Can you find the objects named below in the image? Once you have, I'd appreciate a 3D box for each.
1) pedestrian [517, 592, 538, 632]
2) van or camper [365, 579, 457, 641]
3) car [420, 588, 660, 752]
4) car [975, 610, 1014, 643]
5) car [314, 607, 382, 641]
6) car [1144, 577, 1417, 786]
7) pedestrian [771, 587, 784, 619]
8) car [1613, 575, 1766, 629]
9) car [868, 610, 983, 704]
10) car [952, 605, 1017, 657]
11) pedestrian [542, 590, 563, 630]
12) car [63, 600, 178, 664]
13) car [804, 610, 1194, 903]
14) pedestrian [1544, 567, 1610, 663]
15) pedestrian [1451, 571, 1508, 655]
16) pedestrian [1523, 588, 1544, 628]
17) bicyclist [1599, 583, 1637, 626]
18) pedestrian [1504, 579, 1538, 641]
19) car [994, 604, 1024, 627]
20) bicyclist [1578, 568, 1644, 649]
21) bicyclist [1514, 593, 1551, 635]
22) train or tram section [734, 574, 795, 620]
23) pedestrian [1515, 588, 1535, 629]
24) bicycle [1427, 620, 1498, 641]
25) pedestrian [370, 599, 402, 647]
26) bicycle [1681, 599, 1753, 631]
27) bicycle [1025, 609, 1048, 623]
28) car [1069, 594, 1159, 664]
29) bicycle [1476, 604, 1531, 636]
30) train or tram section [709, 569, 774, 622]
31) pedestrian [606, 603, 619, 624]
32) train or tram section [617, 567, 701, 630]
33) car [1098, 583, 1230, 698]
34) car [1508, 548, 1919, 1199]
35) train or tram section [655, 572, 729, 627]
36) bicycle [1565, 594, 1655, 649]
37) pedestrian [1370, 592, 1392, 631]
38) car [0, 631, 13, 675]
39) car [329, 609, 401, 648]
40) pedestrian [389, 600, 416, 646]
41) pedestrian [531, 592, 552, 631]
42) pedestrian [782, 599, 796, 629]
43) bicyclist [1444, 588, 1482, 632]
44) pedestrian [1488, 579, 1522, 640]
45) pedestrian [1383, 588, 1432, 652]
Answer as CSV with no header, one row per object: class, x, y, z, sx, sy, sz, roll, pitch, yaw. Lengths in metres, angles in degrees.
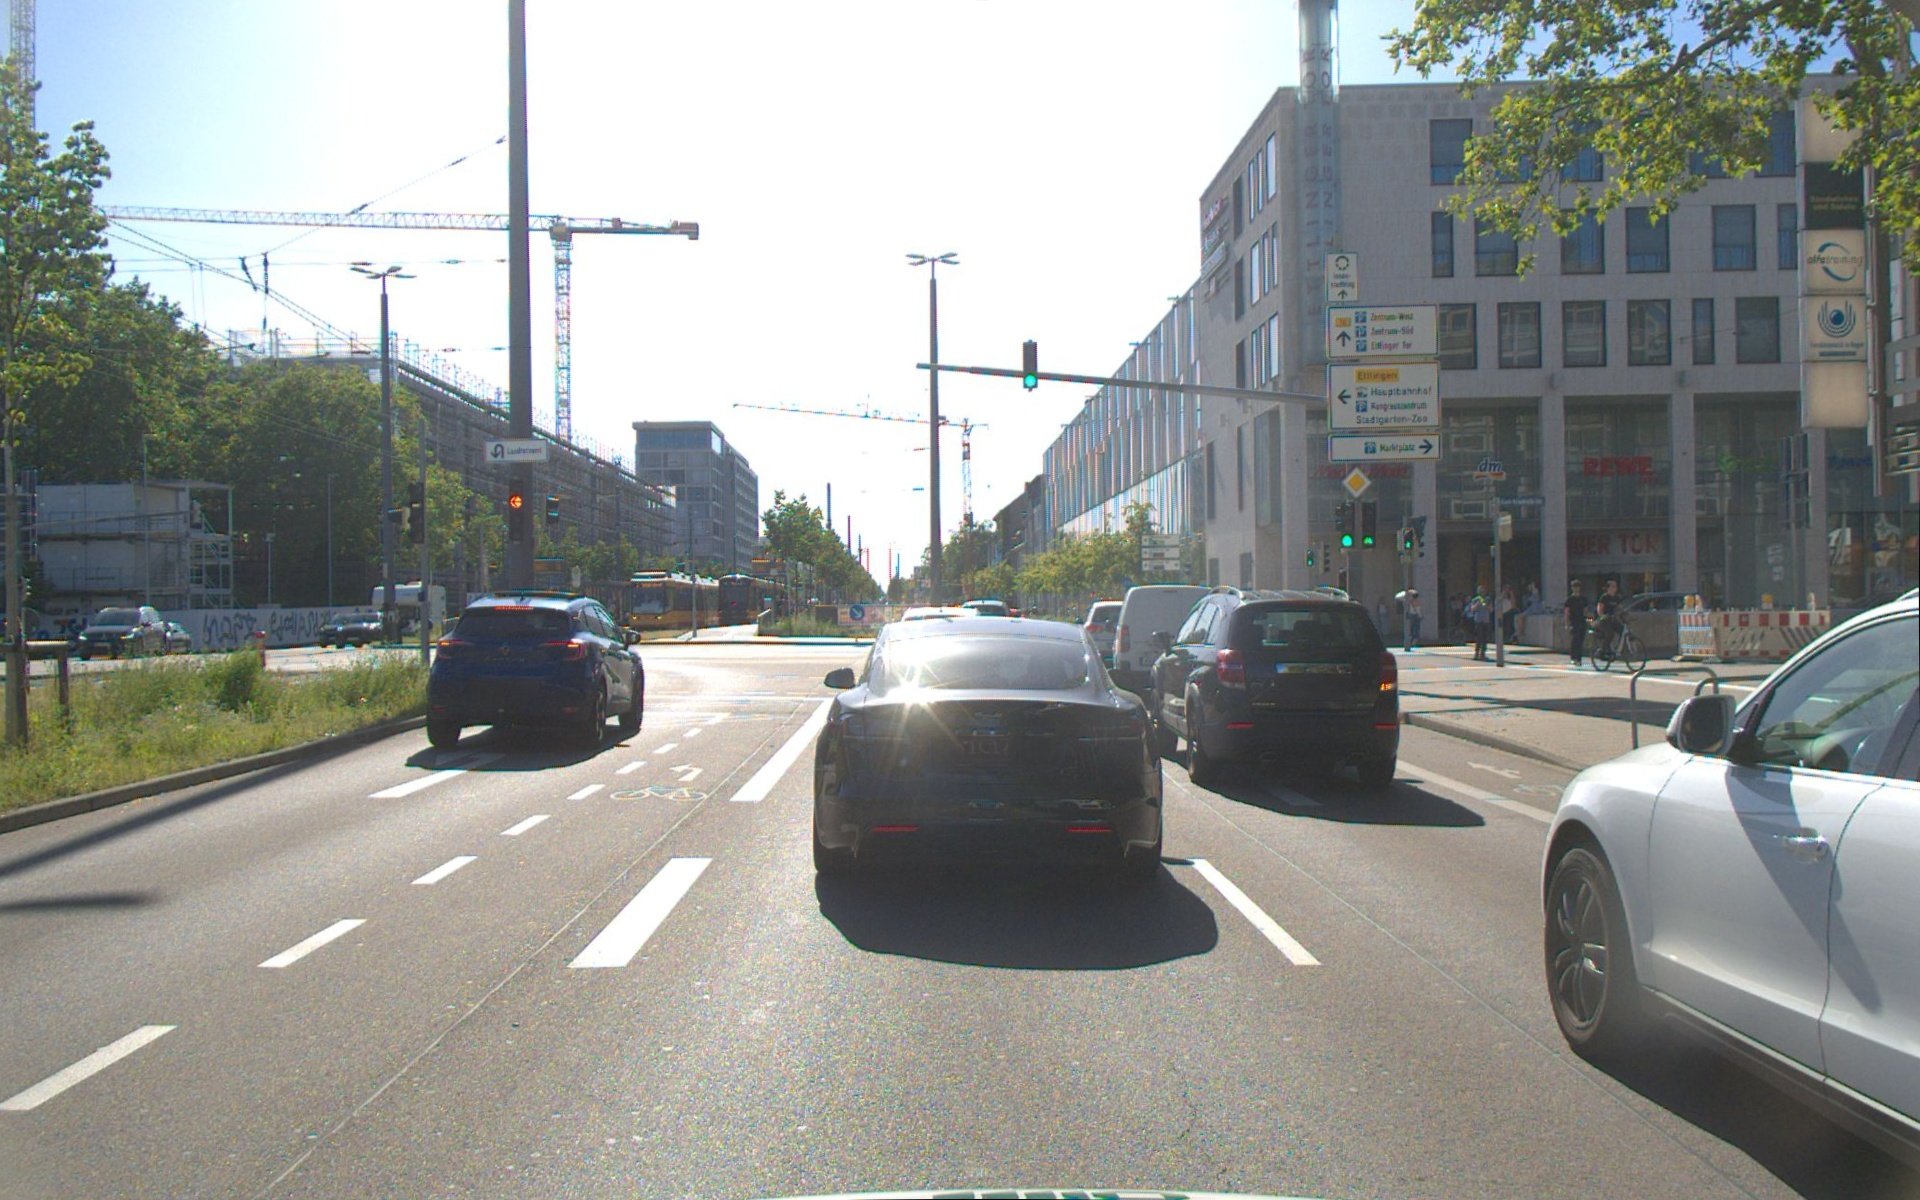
pedestrian,-20.510,0.574,78.468,0.784,1.855,0.975,-1,0,-4
van or camper,-27.927,0.474,84.408,2.553,2.988,7.337,-1,0,-3
car,-4.586,0.710,18.644,1.734,1.616,4.087,1,0,-2
car,1.611,1.244,78.685,1.681,1.457,3.999,0,0,-1
car,-32.116,1.229,86.935,1.953,1.737,4.559,-1,0,-1
car,2.914,0.670,15.967,1.748,1.729,4.412,0,0,-1
pedestrian,-10.490,0.186,95.172,0.689,1.806,0.958,1,0,-5
car,23.482,0.081,53.337,4.099,1.641,1.861,-1,-2,1
car,-0.540,0.859,26.443,1.681,1.343,3.999,0,0,-1
car,0.643,0.834,46.152,1.681,1.343,3.999,0,0,-1
pedestrian,-19.123,0.475,77.622,0.784,1.855,0.975,-1,0,-4
car,-27.806,1.028,54.914,1.832,1.990,3.999,-1,0,-1
car,0.182,0.797,10.508,1.958,1.459,4.412,0,0,-1
pedestrian,13.377,0.312,35.902,0.929,2.049,1.077,-1,0,-9
pedestrian,12.808,0.316,40.786,0.930,2.049,1.076,-1,0,-13
pedestrian,25.486,0.357,73.510,0.551,1.793,0.641,-1,0,-38
bicyclist,22.821,0.144,57.395,0.913,1.458,1.041,-1,0,2
pedestrian,15.351,0.272,45.281,0.648,1.640,0.526,-3,0,-10
car,3.341,1.050,114.386,1.895,1.569,3.999,0,0,-1
bicyclist,12.358,0.153,31.418,0.863,1.502,0.883,-1,0,-2
bicyclist,19.870,0.489,57.421,0.913,1.420,1.077,-1,0,2
train or tram section,-15.437,-0.175,132.396,2.812,3.337,22.134,1,0,-2
pedestrian,24.965,0.358,73.060,0.551,1.793,0.641,-1,0,-38
bicycle,17.459,1.053,57.484,2.147,0.683,1.072,-1,0,2
pedestrian,-22.513,0.891,64.915,0.785,1.855,0.880,-1,0,31
bicycle,27.478,0.545,60.097,1.044,1.113,3.498,-1,0,1
bicycle,6.664,1.399,144.127,1.848,1.171,0.669,-2,0,-12
car,3.648,0.660,39.822,1.748,1.573,4.038,0,0,-1
bicycle,19.935,0.720,60.738,1.044,1.113,2.991,-1,0,0
train or tram section,-14.875,-0.261,113.768,2.812,3.337,15.179,1,0,-2
pedestrian,-20.498,0.790,97.582,0.658,1.248,0.505,1,-1,-5
train or tram section,-17.351,-0.076,96.355,2.812,3.367,13.067,1,0,-2
car,3.327,0.618,27.660,1.748,1.764,4.163,0,0,1
car,3.029,0.698,4.200,1.782,1.642,4.412,0,0,-1
train or tram section,-17.781,0.097,110.878,2.790,3.380,15.959,1,-1,-2
bicycle,12.351,0.399,31.508,0.863,1.002,2.050,-1,0,-2
pedestrian,17.862,0.474,70.161,0.732,1.636,0.556,-1,0,-3
car,-36.744,1.975,59.744,1.956,1.629,3.993,-1,0,29
car,-27.367,1.293,76.167,1.907,1.737,4.364,-1,0,-3
pedestrian,-22.397,0.918,66.404,0.784,1.855,0.975,-1,0,-4
pedestrian,-20.392,0.550,80.573,0.784,1.855,0.975,-1,0,-4
pedestrian,-9.537,0.758,92.243,0.726,1.657,0.861,-1,-1,-1
bicyclist,17.488,0.355,57.500,1.000,1.502,1.072,-1,0,2
pedestrian,15.119,0.267,45.893,0.648,1.640,0.526,-3,0,-10
pedestrian,13.482,0.597,49.887,0.947,1.833,1.522,-3,0,-2
